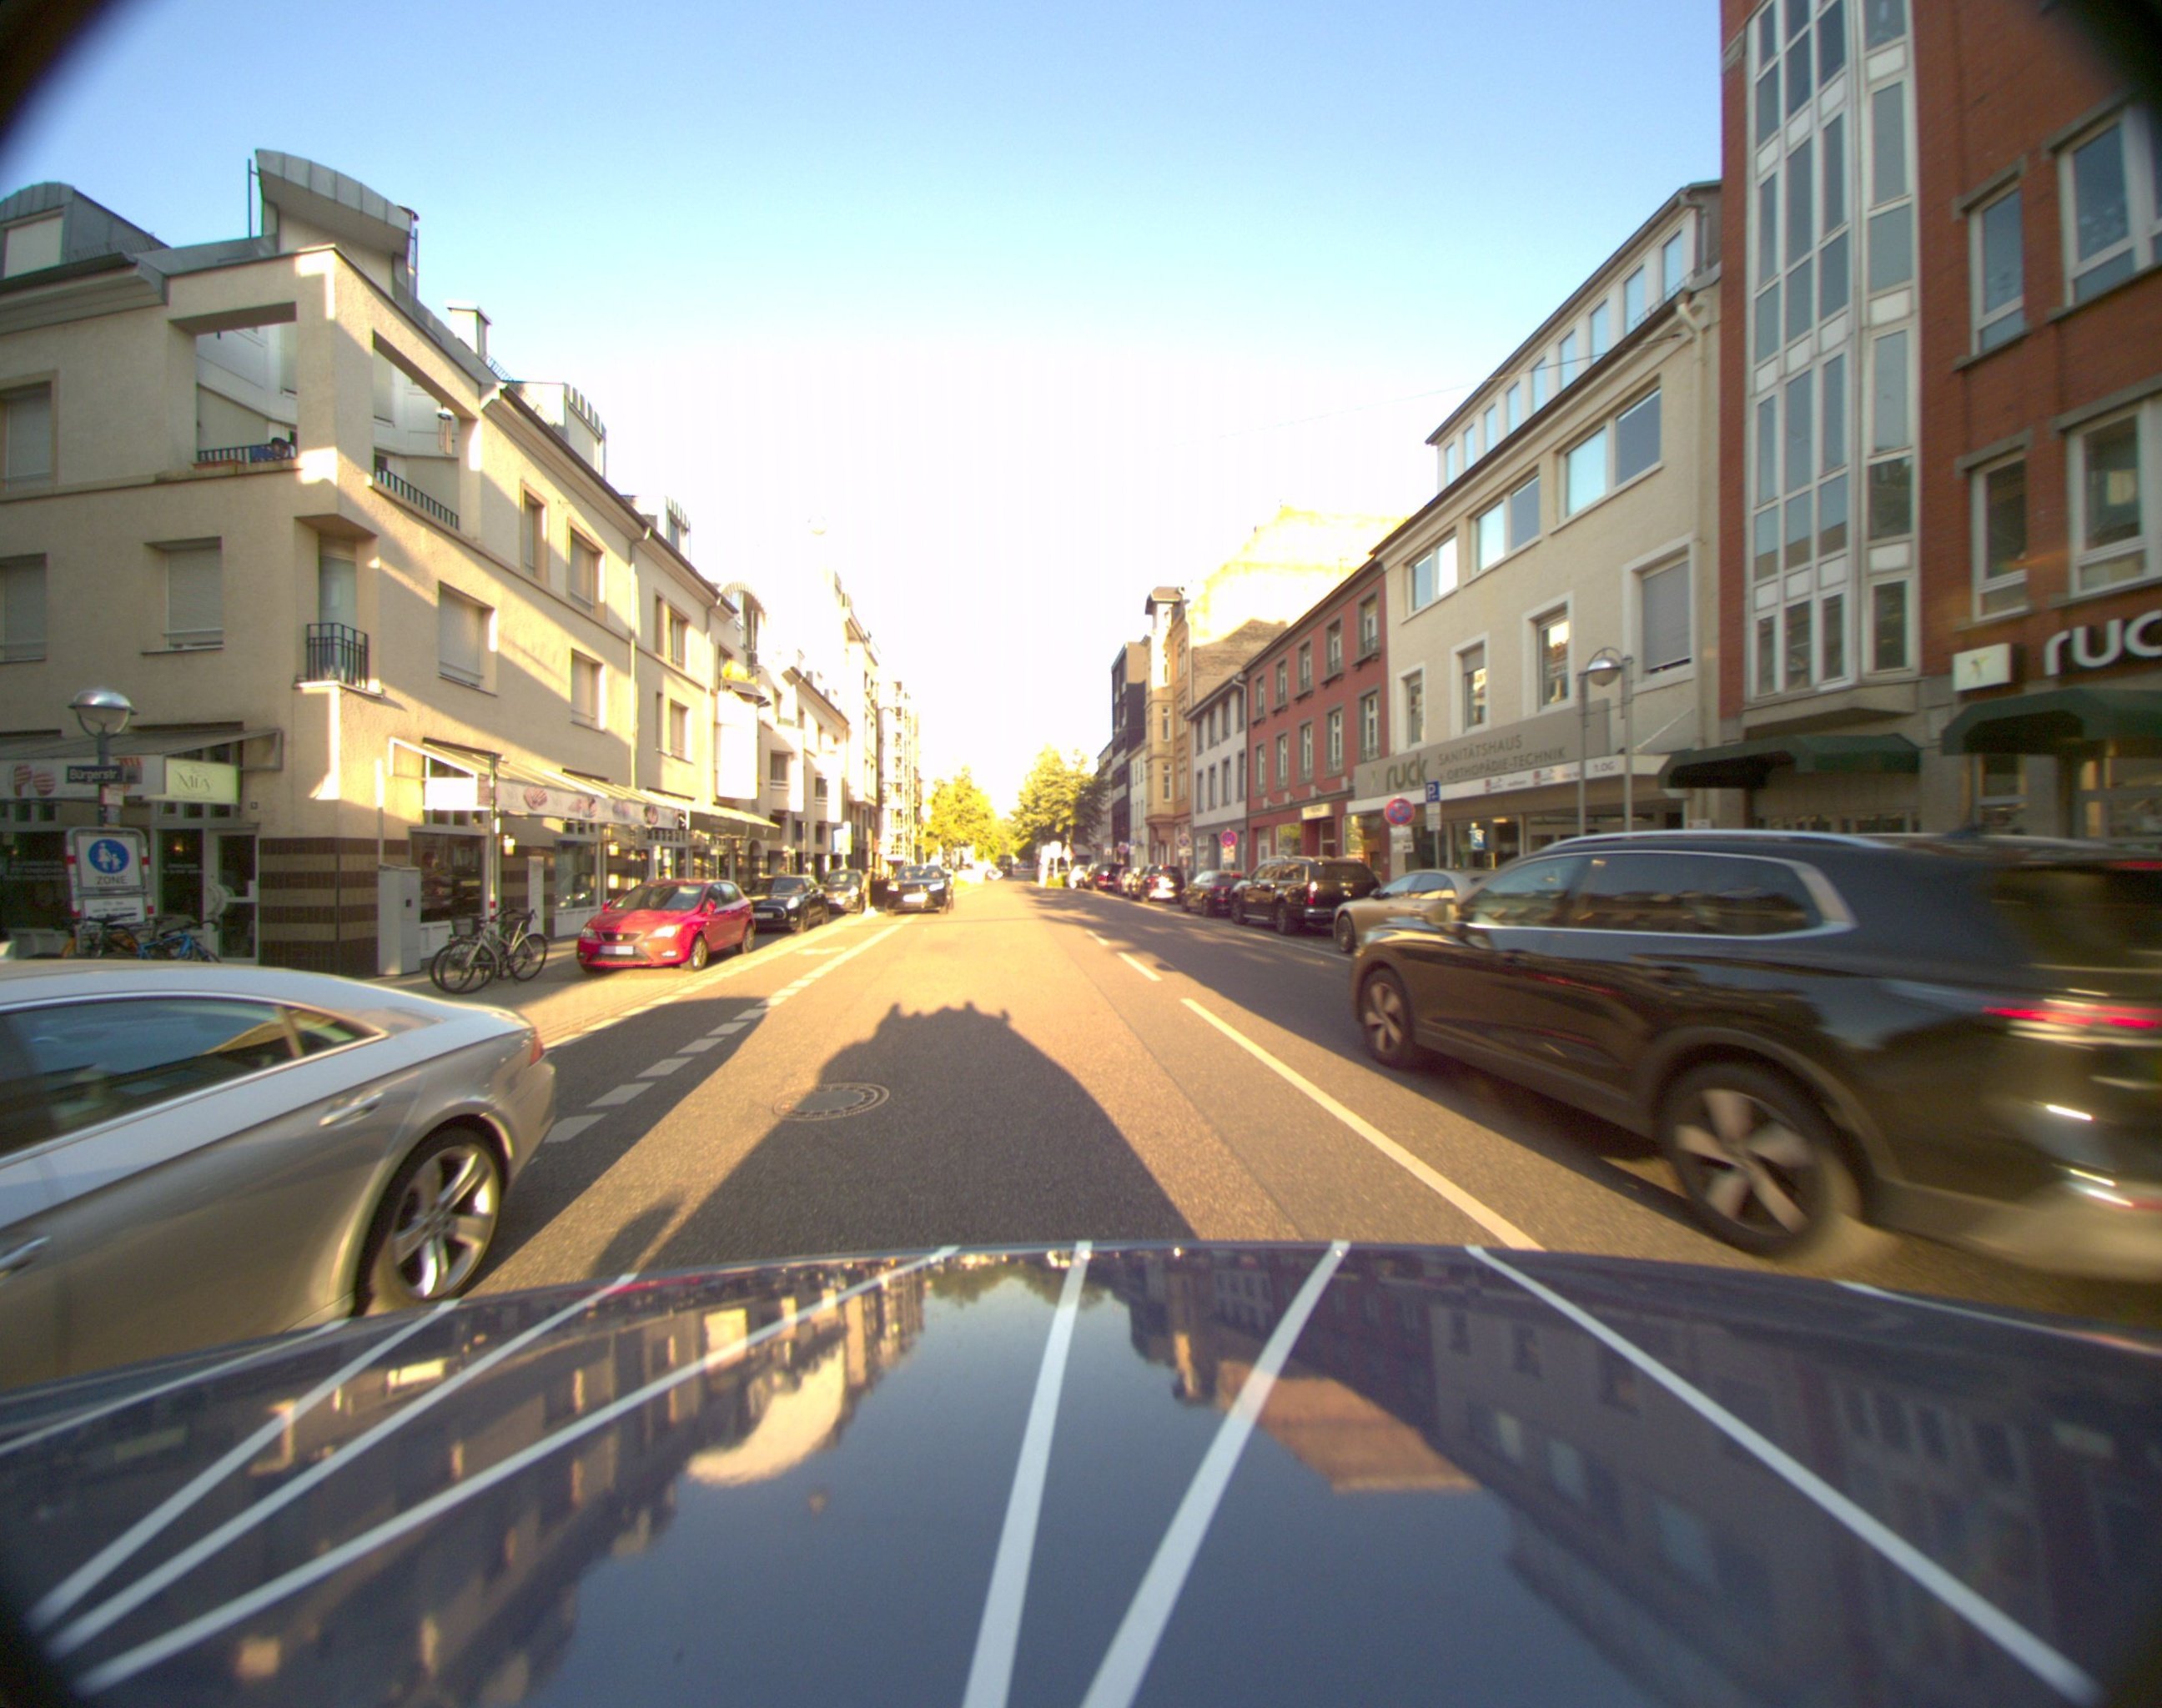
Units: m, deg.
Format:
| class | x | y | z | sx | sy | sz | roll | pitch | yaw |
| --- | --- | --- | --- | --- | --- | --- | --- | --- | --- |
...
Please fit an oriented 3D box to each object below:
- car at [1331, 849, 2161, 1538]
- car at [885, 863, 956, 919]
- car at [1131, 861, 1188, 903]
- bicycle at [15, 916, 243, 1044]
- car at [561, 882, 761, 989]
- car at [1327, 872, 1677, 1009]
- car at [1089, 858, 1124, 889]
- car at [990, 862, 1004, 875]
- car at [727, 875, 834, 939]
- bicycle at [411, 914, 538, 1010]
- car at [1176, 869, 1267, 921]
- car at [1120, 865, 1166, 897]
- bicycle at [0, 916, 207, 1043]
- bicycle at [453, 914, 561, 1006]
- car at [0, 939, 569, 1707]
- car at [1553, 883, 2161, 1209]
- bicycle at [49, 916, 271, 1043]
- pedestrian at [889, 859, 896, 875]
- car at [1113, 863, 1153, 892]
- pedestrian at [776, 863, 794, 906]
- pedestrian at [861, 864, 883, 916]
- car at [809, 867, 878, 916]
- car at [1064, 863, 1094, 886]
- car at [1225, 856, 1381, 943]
| class | x | y | z | sx | sy | sz | roll | pitch | yaw |
| --- | --- | --- | --- | --- | --- | --- | --- | --- | --- |
| car | 3.109 | 0.862 | 4.061 | 1.735 | 1.665 | 4.293 | 2 | -1 | -6 |
| car | -5.310 | 1.165 | 25.633 | 1.891 | 1.626 | 4.225 | -2 | 0 | -6 |
| car | 3.339 | 1.167 | 32.998 | 1.725 | 1.673 | 4.048 | 2 | -1 | -4 |
| bicycle | -10.416 | 1.316 | 8.428 | 0.291 | 1.098 | 1.886 | -1 | 0 | -6 |
| car | -6.875 | 1.241 | 12.919 | 1.593 | 1.425 | 3.923 | 1 | 0 | -7 |
| car | 5.617 | 1.051 | 11.158 | 1.999 | 1.463 | 5.105 | 1 | -1 | -4 |
| car | 1.482 | 1.145 | 45.828 | 1.674 | 1.763 | 3.564 | 2 | -1 | -4 |
| car | -10.250 | 1.800 | 92.564 | 1.622 | 1.465 | 3.686 | -2 | 0 | -6 |
| car | -7.710 | 1.291 | 19.866 | 1.622 | 1.425 | 3.923 | 0 | 0 | -7 |
| bicycle | -8.187 | 1.416 | 10.357 | 0.315 | 1.040 | 1.881 | 0 | 0 | -3 |
| car | 4.390 | 1.233 | 24.321 | 1.706 | 1.429 | 4.012 | 2 | -1 | -7 |
| car | 3.048 | 1.308 | 38.038 | 1.690 | 1.461 | 3.689 | 2 | -1 | -4 |
| bicycle | -10.837 | 1.312 | 8.400 | 0.322 | 1.098 | 1.878 | -1 | 0 | -6 |
| bicycle | -7.847 | 1.413 | 10.464 | 0.315 | 1.040 | 1.664 | 0 | 0 | -3 |
| car | -3.036 | 1.100 | 1.168 | 1.747 | 1.392 | 4.637 | -2 | 0 | -7 |
| car | 5.977 | 1.045 | 5.686 | 1.726 | 1.464 | 4.539 | 2 | -1 | -6 |
| bicycle | -10.107 | 1.318 | 8.457 | 0.322 | 1.098 | 1.878 | -1 | 0 | -6 |
| pedestrian | -15.041 | 1.010 | 60.641 | 0.492 | 1.256 | 0.421 | -2 | 1 | -6 |
| car | 2.831 | 1.281 | 42.097 | 1.674 | 1.448 | 3.564 | 2 | -1 | -4 |
| pedestrian | -12.563 | 1.301 | 32.258 | 0.576 | 1.789 | 0.450 | -2 | 1 | -5 |
| pedestrian | -7.137 | 1.211 | 25.957 | 0.631 | 1.739 | 0.669 | 0 | 0 | -6 |
| car | -8.460 | 1.286 | 27.364 | 1.622 | 1.583 | 3.923 | -1 | 0 | -7 |
| car | -0.198 | 1.381 | 52.834 | 1.674 | 1.512 | 3.563 | 1 | 0 | -7 |
| car | 5.072 | 0.976 | 18.187 | 1.726 | 1.768 | 4.936 | 1 | -1 | -8 |
